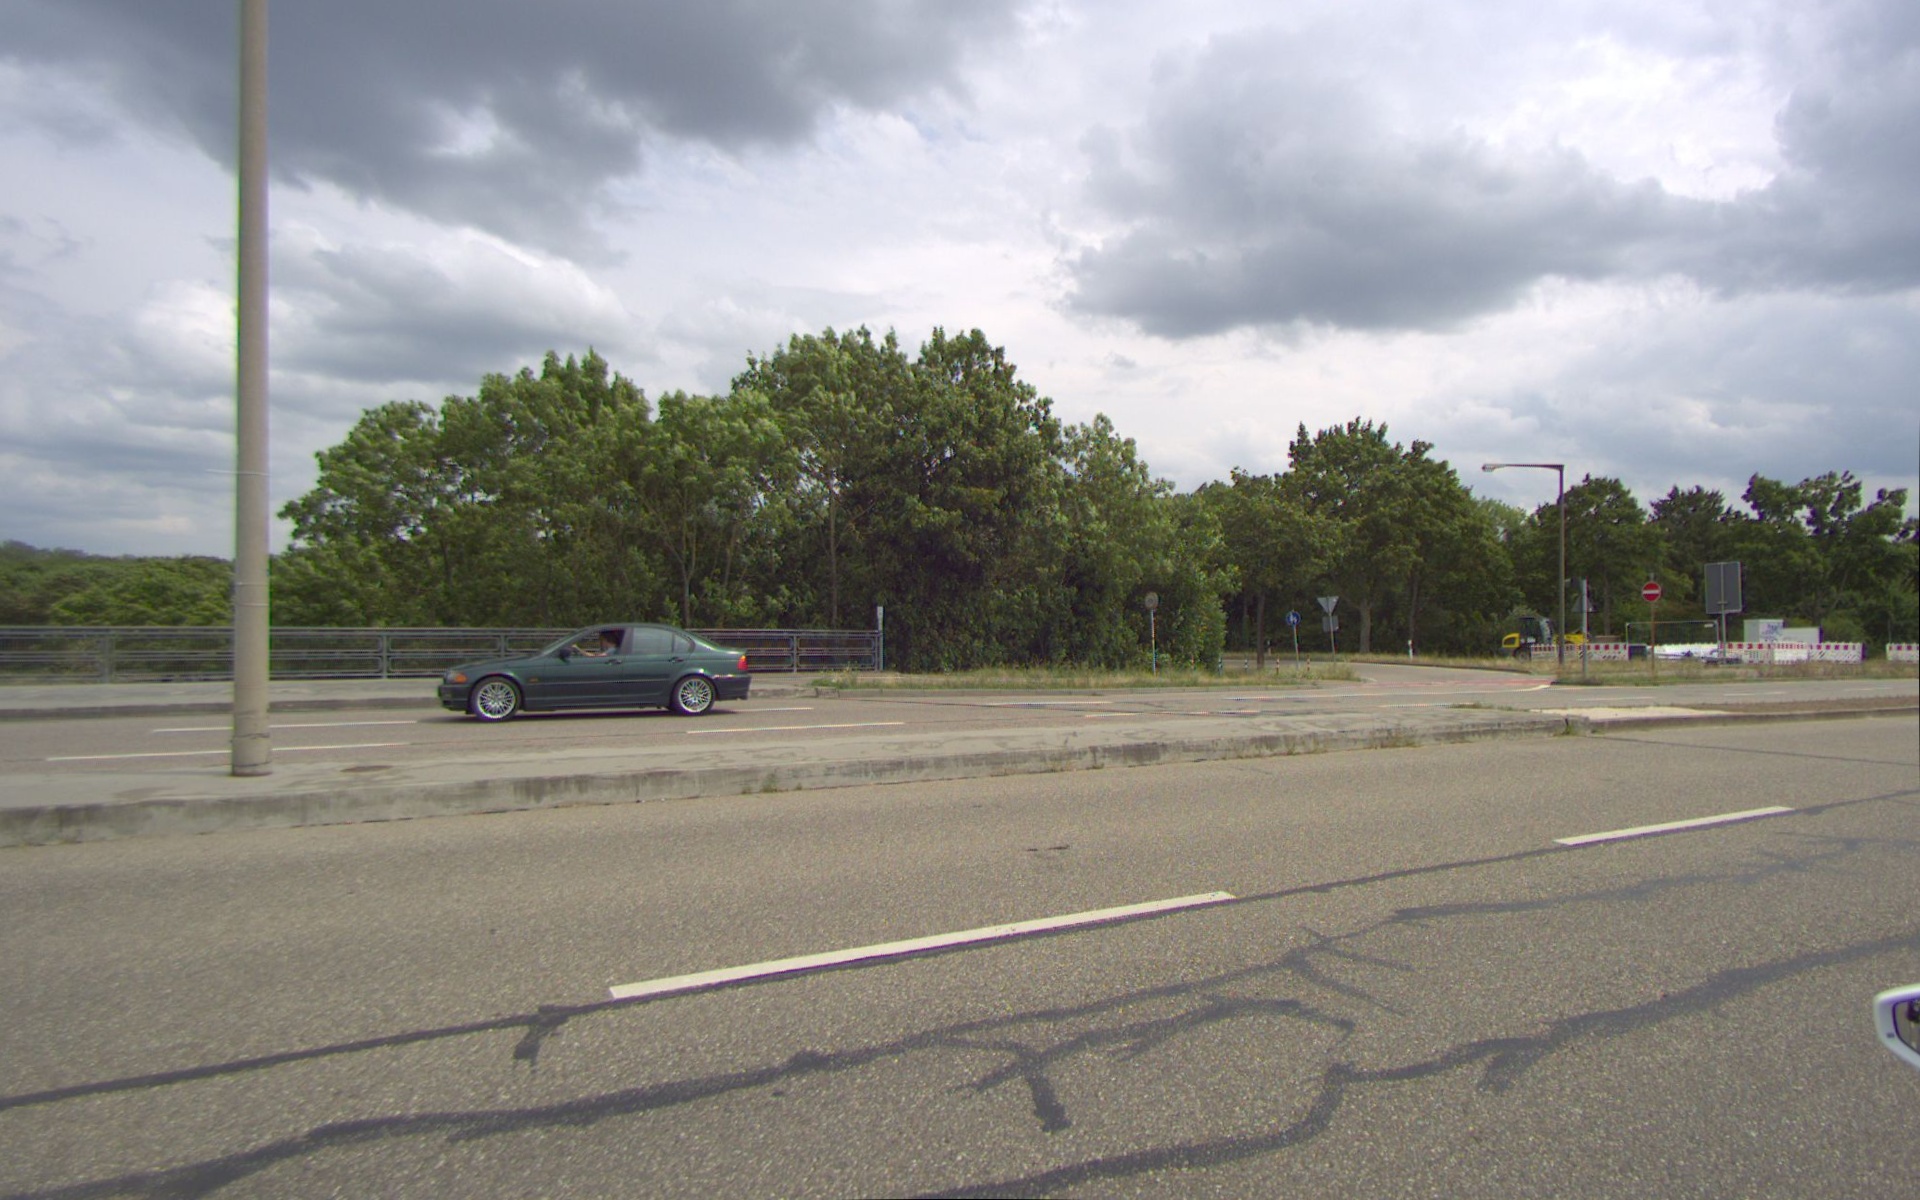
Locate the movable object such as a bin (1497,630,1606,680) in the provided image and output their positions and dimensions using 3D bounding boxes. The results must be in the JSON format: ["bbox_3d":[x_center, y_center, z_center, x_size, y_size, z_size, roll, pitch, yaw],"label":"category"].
[{"bbox_3d":[31.000,2.813,52.767,1.983,2.429,4.542,0,-1,-38],"label":"movable object such as a bin"}]

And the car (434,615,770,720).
[{"bbox_3d":[-5.337,0.998,15.215,4.514,1.391,1.988,2,-3,-25],"label":"car"}]
